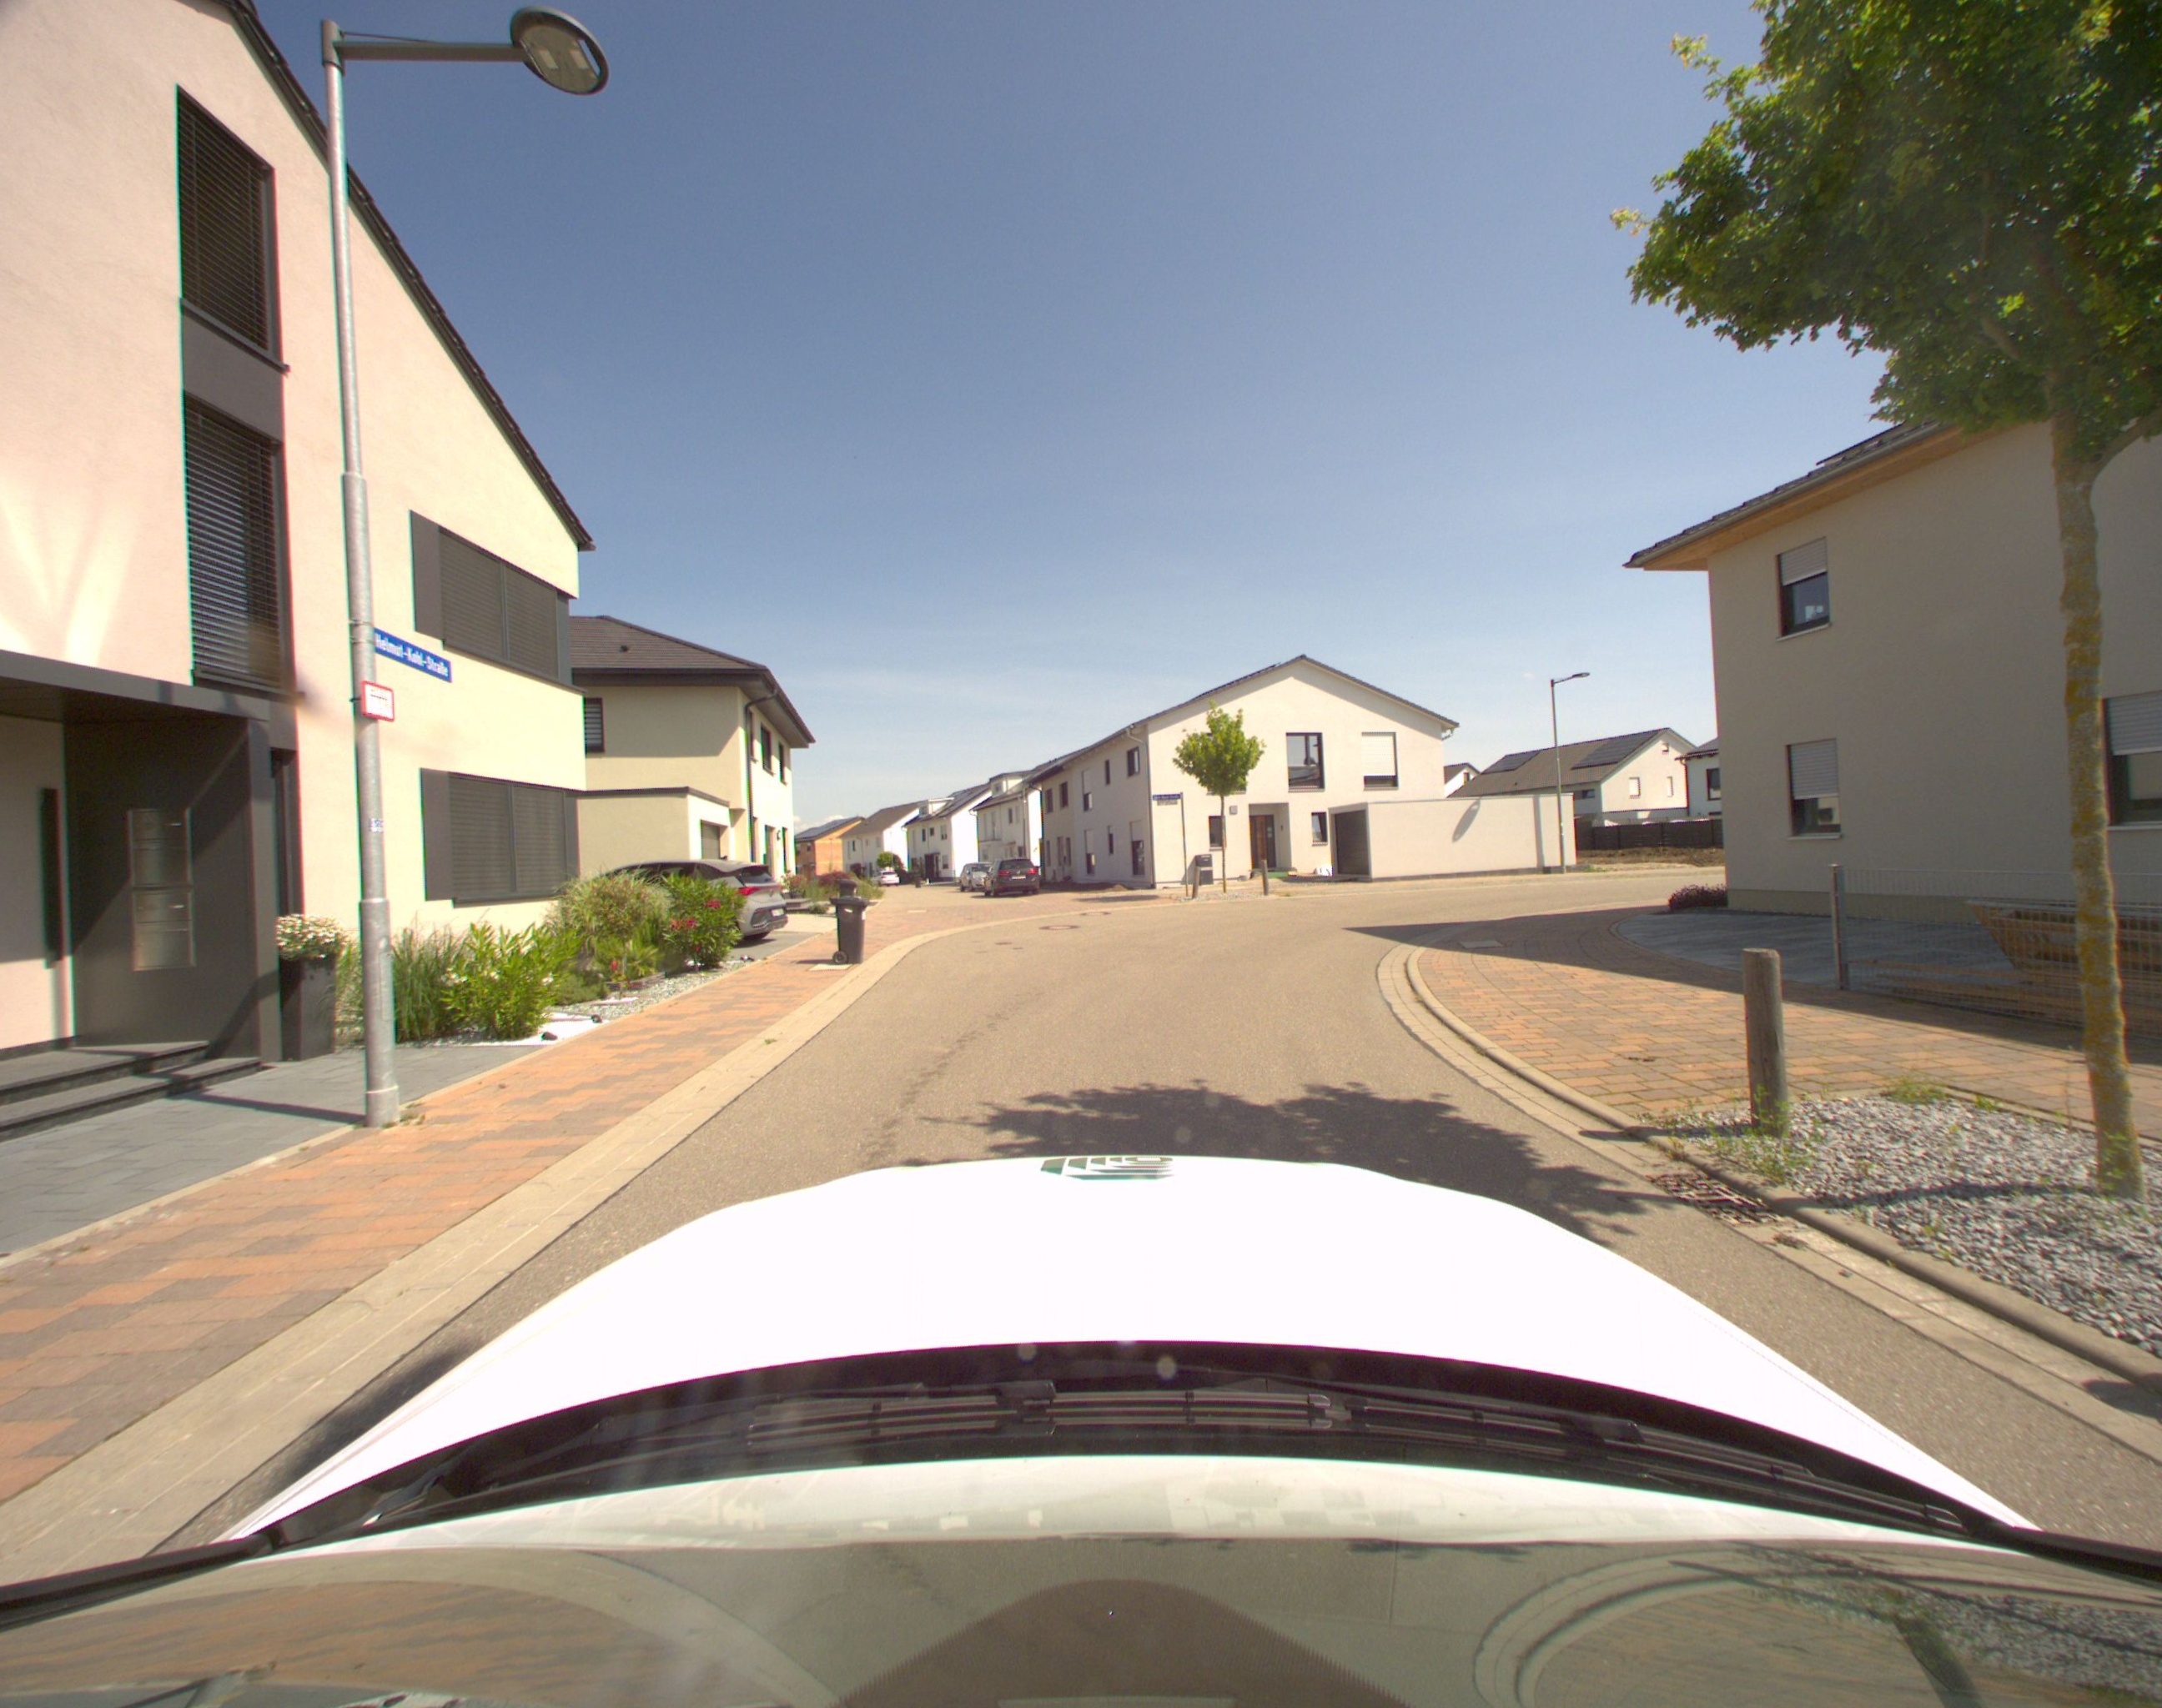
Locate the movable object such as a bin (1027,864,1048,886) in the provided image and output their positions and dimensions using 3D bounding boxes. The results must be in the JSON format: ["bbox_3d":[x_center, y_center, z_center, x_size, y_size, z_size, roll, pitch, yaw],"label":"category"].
[{"bbox_3d":[-2.187,1.038,40.779,0.786,1.050,0.800,-5,0,-16],"label":"movable object such as a bin"}]

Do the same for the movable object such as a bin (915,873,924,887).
[{"bbox_3d":[-11.913,1.920,60.082,0.558,0.949,0.245,-3,0,-18],"label":"movable object such as a bin"}]

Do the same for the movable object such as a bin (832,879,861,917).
[{"bbox_3d":[-5.745,1.069,19.967,0.615,0.927,0.422,0,-2,-11],"label":"movable object such as a bin"}]

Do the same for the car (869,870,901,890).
[{"bbox_3d":[-17.757,2.335,73.575,1.791,1.596,3.963,-3,0,-28],"label":"car"}]

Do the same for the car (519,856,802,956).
[{"bbox_3d":[-7.217,0.860,14.247,3.972,1.486,1.755,-2,0,1],"label":"car"}]

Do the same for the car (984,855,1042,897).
[{"bbox_3d":[-2.683,0.831,31.413,1.728,1.423,3.984,-3,0,-11],"label":"car"}]

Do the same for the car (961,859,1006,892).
[{"bbox_3d":[-4.948,1.060,40.967,1.679,1.464,3.925,-3,0,-14],"label":"car"}]

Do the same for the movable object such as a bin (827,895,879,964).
[{"bbox_3d":[-3.228,1.060,11.563,0.531,0.936,0.527,-1,0,9],"label":"movable object such as a bin"}]
